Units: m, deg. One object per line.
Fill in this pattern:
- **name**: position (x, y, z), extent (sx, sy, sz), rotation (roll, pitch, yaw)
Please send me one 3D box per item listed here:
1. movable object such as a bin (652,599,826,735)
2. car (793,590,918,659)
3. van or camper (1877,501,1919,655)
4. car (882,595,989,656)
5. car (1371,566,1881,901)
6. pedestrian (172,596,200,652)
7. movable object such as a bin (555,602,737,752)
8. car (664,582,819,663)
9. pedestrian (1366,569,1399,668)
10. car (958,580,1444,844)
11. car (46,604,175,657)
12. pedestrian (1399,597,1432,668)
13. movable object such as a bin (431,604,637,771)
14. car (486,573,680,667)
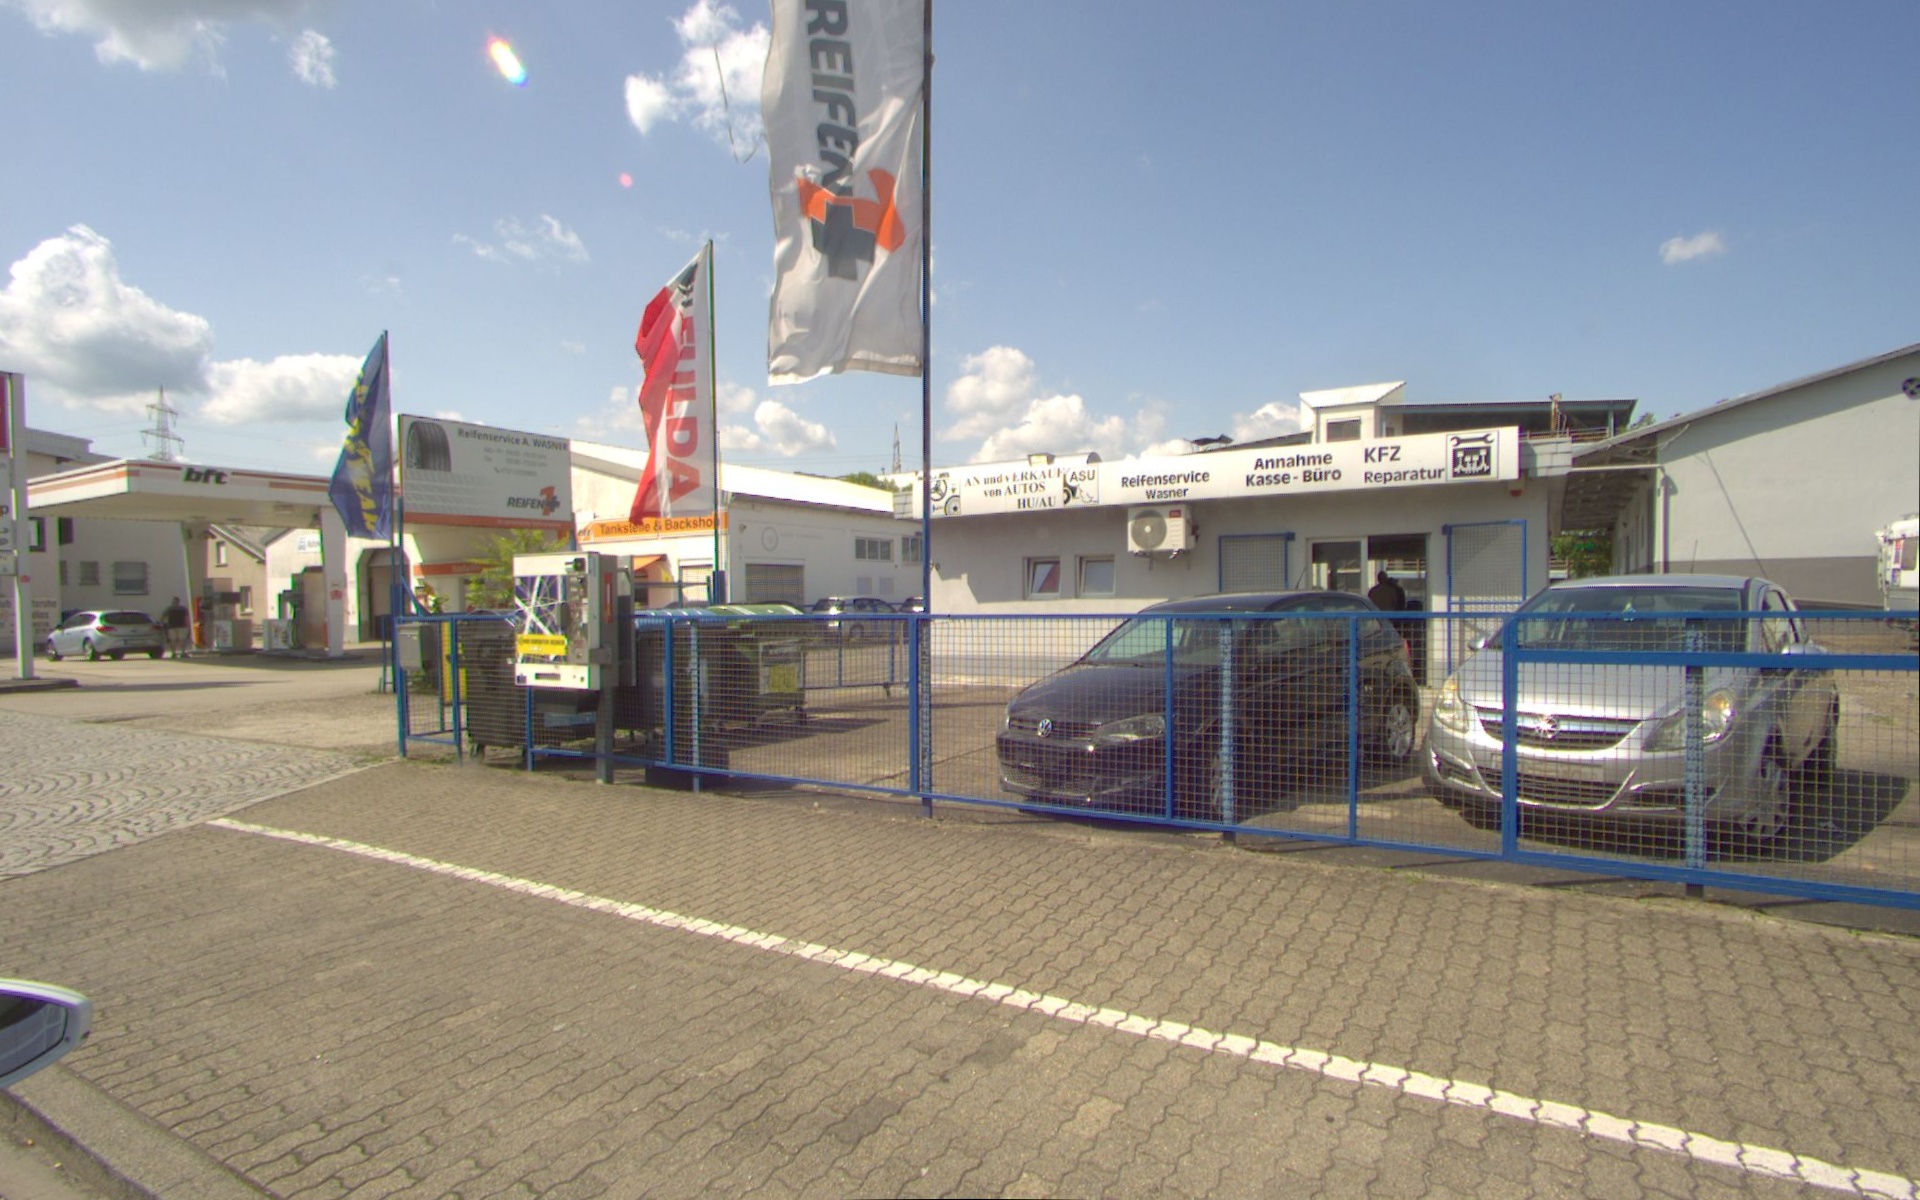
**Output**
- **movable object such as a bin**: position (-2.603, 0.741, 11.903), extent (1.433, 1.473, 1.427), rotation (0, 1, 31)
- **car**: position (-3.262, 0.726, 31.991), extent (1.971, 2.040, 3.979), rotation (0, 0, 32)
- **van or camper**: position (21.349, -0.461, 19.325), extent (4.983, 3.002, 2.276), rotation (0, 1, 31)
- **car**: position (-0.803, 0.861, 35.880), extent (1.971, 2.040, 3.979), rotation (0, 0, 32)
- **car**: position (4.505, 0.585, 6.515), extent (4.104, 1.499, 1.787), rotation (-1, 0, -42)
- **pedestrian**: position (-23.738, 0.728, 30.718), extent (0.628, 1.705, 0.618), rotation (-1, 1, -36)
- **movable object such as a bin**: position (-3.369, 0.773, 10.788), extent (1.434, 1.473, 1.224), rotation (0, 1, 31)
- **car**: position (-5.946, 0.570, 27.639), extent (1.971, 2.040, 3.979), rotation (0, 0, 32)
- **pedestrian**: position (7.409, 0.322, 17.565), extent (0.480, 1.710, 0.499), rotation (0, 1, 30)
- **car**: position (2.017, 0.625, 7.652), extent (3.962, 1.499, 1.705), rotation (-1, 1, -43)
- **car**: position (-25.832, 0.889, 30.437), extent (3.950, 1.499, 1.829), rotation (-1, 1, 31)
- **pedestrian**: position (7.982, 0.560, 17.529), extent (0.480, 1.229, 0.499), rotation (0, 1, 30)
- **movable object such as a bin**: position (-4.129, 0.782, 9.748), extent (1.434, 1.473, 1.224), rotation (0, 1, 31)
- **car**: position (-8.911, 0.434, 23.985), extent (1.971, 2.040, 3.979), rotation (0, 0, 32)
